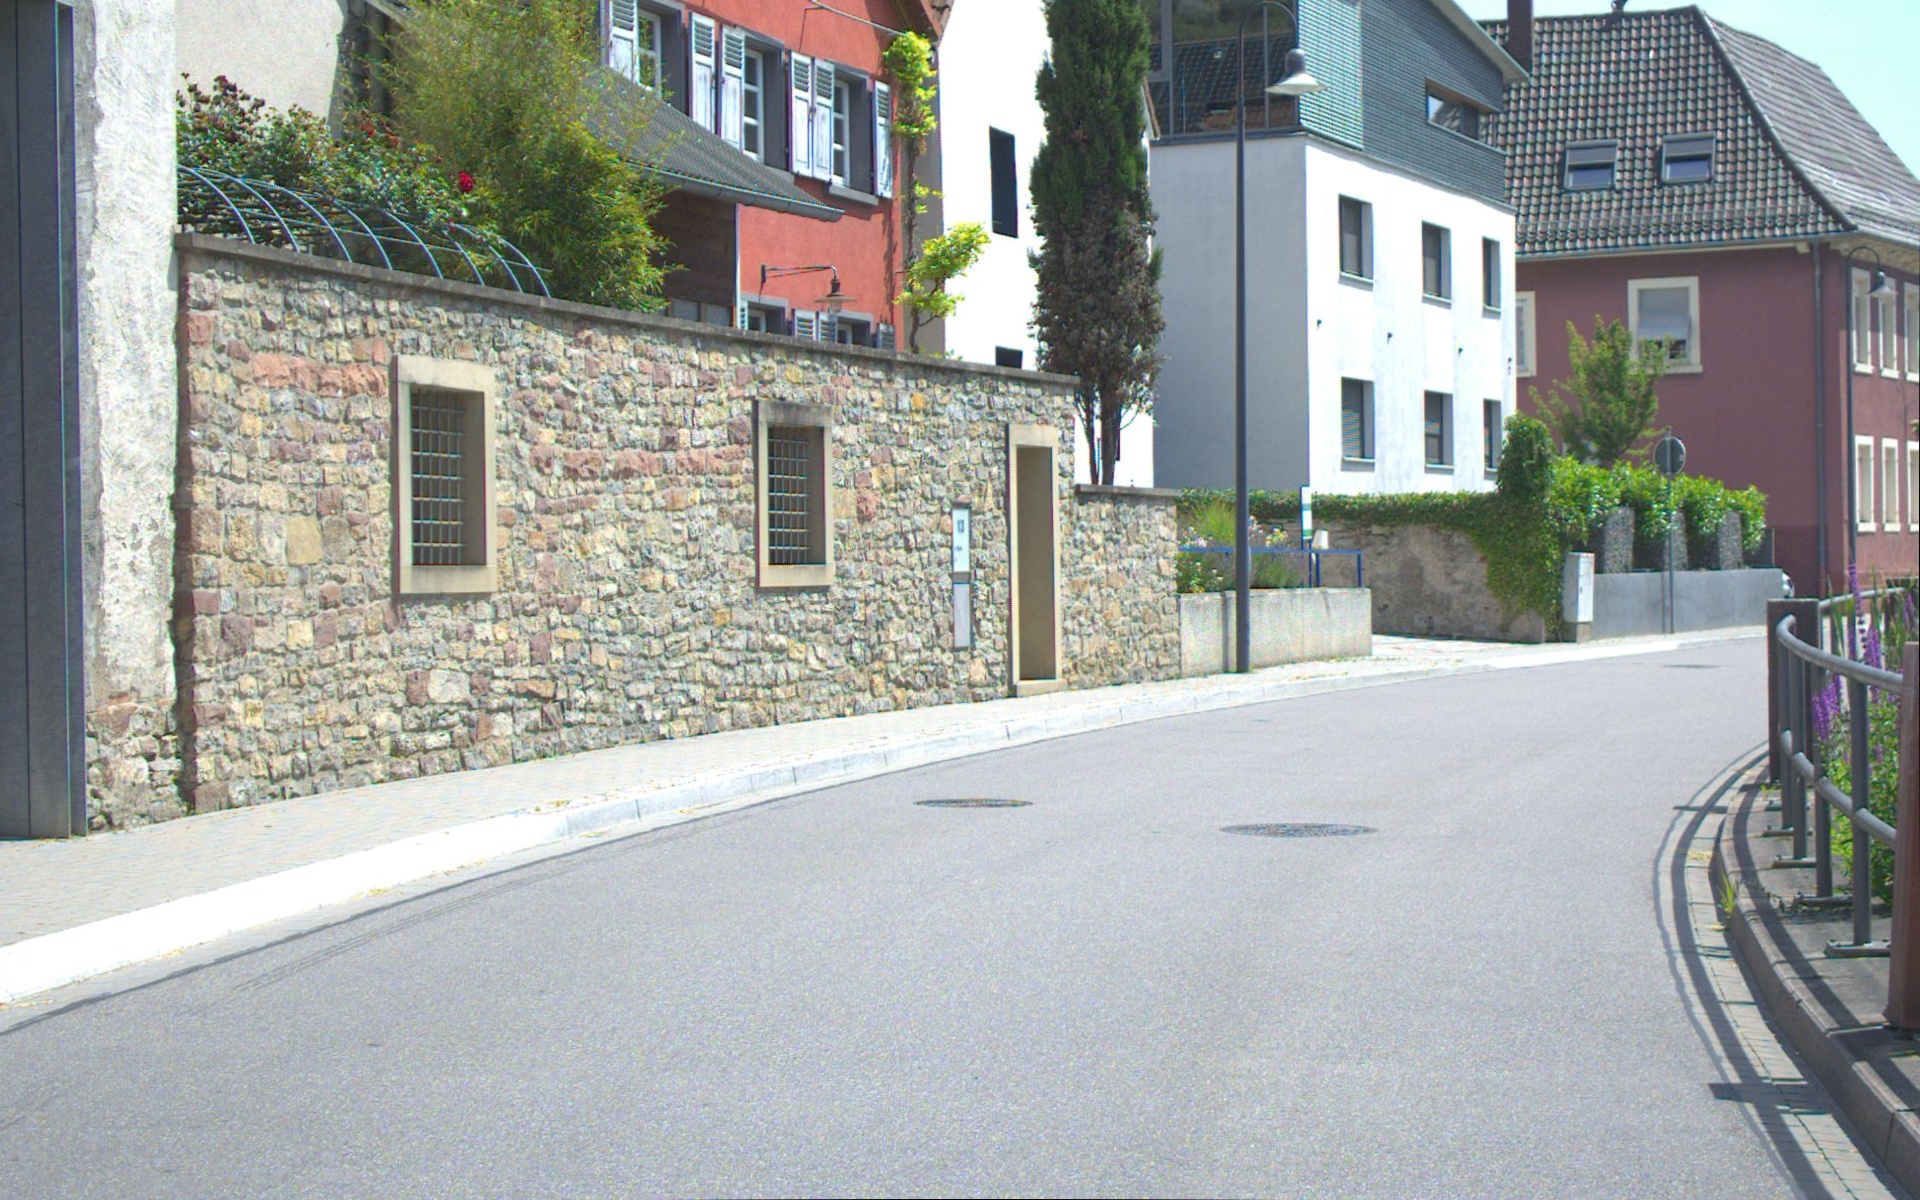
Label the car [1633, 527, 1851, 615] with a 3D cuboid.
[{"bbox_3d":[14.572,-0.567,64.103,3.571,1.401,1.649,4,3,29],"label":"car"}]
